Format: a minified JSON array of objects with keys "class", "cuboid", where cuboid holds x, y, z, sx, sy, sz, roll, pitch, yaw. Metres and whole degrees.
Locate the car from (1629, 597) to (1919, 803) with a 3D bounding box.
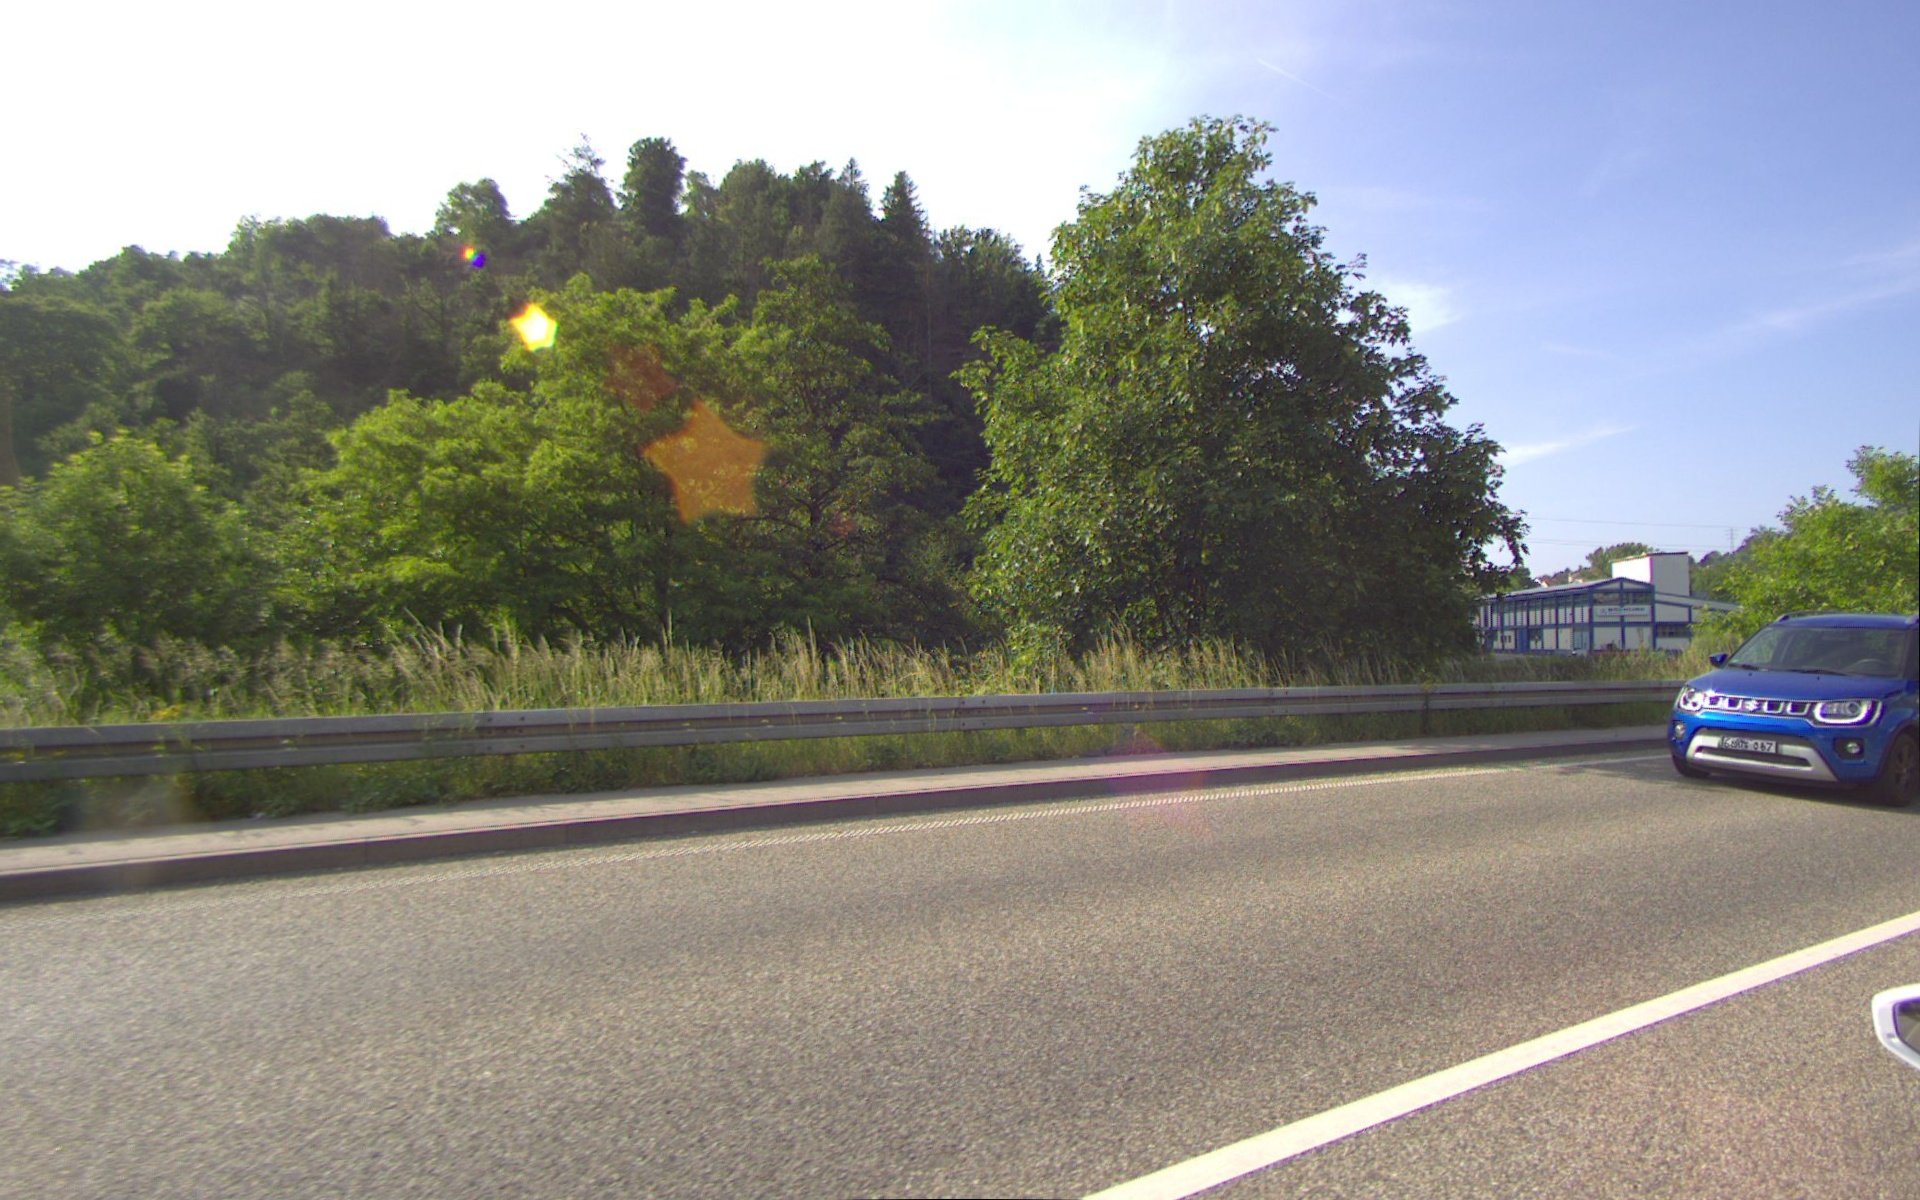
[{"class":"car","cuboid":[8.356,0.814,9.492,3.951,1.588,1.744,1,0,-29]}]
